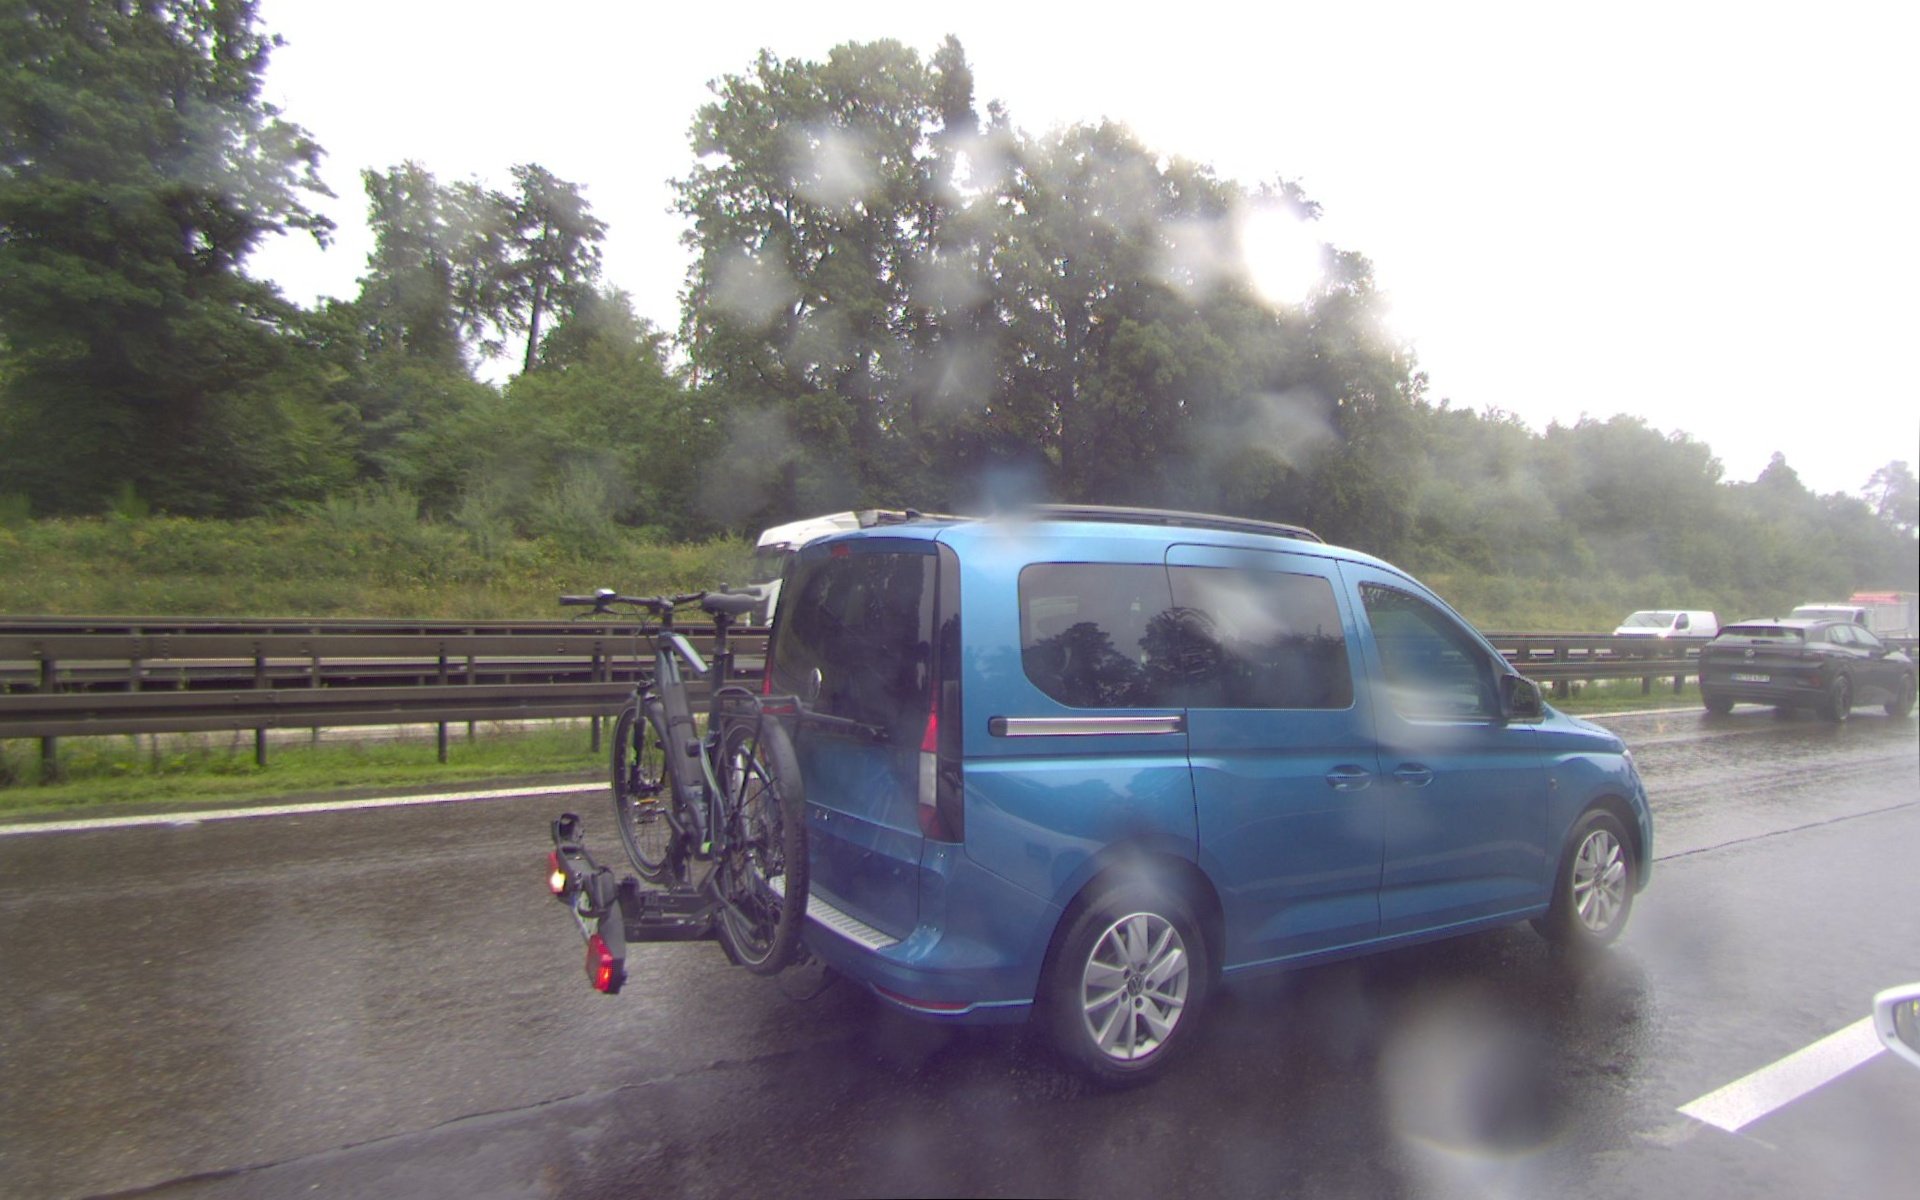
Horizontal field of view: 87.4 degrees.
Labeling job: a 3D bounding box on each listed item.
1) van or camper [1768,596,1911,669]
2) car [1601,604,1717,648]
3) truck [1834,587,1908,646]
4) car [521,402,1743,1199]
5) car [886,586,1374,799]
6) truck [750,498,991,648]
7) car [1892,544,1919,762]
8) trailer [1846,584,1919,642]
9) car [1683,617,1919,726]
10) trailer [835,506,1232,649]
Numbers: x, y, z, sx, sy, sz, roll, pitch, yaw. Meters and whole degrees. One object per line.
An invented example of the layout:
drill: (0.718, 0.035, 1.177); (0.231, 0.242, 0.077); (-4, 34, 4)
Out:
van or camper: (31.819, 1.163, 36.294); (5.634, 2.455, 2.217); (1, 0, -30)
car: (26.241, 0.965, 37.662); (4.656, 1.527, 1.982); (1, -1, -33)
truck: (64.718, 1.204, 71.343); (4.837, 4.006, 2.689); (2, -2, -32)
car: (0.850, 0.559, 4.415); (4.952, 1.937, 2.260); (1, 0, -28)
car: (1.683, 0.728, 9.518); (4.414, 1.613, 1.837); (1, 0, -30)
truck: (-2.524, -0.635, 28.790); (6.191, 3.869, 3.005); (1, 0, -31)
car: (14.068, 0.682, 12.646); (4.960, 2.607, 2.200); (1, 0, -32)
trailer: (70.587, 1.088, 75.036); (13.803, 4.006, 2.706); (2, -2, -32)
car: (14.417, 1.131, 17.109); (4.415, 1.613, 1.836); (1, 0, -31)
trailer: (2.784, -0.494, 32.080); (13.408, 3.869, 3.008); (1, 0, -32)
